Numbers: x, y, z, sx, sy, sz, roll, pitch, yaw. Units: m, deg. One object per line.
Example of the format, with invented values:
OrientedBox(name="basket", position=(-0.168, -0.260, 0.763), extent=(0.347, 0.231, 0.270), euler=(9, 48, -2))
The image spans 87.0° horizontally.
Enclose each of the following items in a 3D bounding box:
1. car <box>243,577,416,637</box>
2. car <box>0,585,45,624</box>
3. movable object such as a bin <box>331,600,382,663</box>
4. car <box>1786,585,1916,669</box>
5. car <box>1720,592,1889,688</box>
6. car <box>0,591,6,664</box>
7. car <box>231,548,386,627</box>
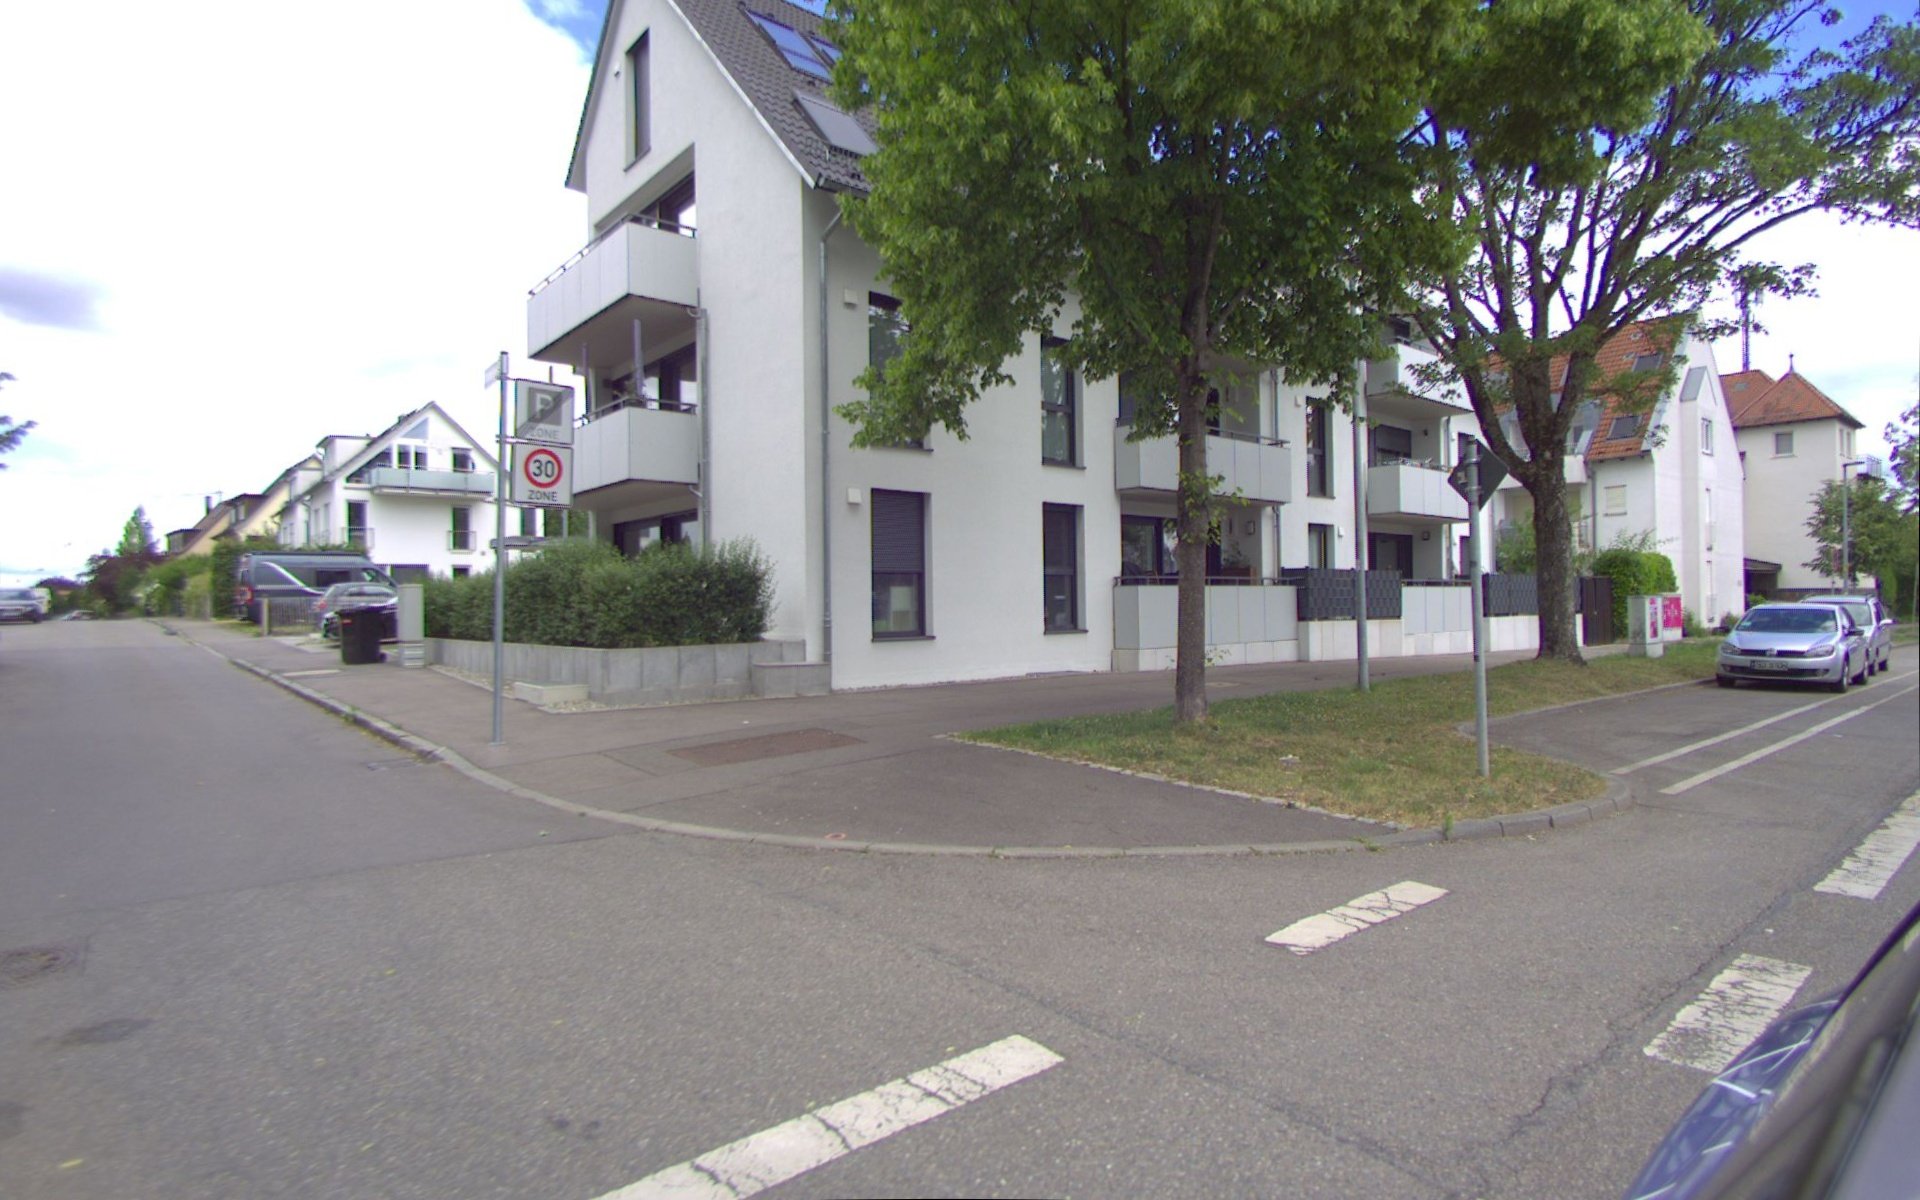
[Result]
OrientedBox(name="car", position=(-18.885, 0.186, 30.412), extent=(4.109, 1.670, 1.995), euler=(0, 0, -45))
OrientedBox(name="car", position=(-37.618, 0.164, 40.102), extent=(1.870, 1.482, 3.994), euler=(0, 0, -40))
OrientedBox(name="movable object such as a bin", position=(-11.135, 0.569, 18.655), extent=(0.715, 1.106, 0.976), euler=(-1, 0, -36))
OrientedBox(name="car", position=(19.430, 0.524, 22.031), extent=(3.583, 1.686, 1.635), euler=(0, 0, -40))
OrientedBox(name="car", position=(15.086, 0.621, 18.002), extent=(4.153, 1.512, 1.690), euler=(0, 0, -41))
OrientedBox(name="car", position=(-19.063, 0.538, 18.759), extent=(1.762, 1.435, 3.994), euler=(1, -1, -40))
OrientedBox(name="car", position=(-22.381, -0.425, 34.838), extent=(4.177, 2.540, 1.995), euler=(0, 0, -45))
